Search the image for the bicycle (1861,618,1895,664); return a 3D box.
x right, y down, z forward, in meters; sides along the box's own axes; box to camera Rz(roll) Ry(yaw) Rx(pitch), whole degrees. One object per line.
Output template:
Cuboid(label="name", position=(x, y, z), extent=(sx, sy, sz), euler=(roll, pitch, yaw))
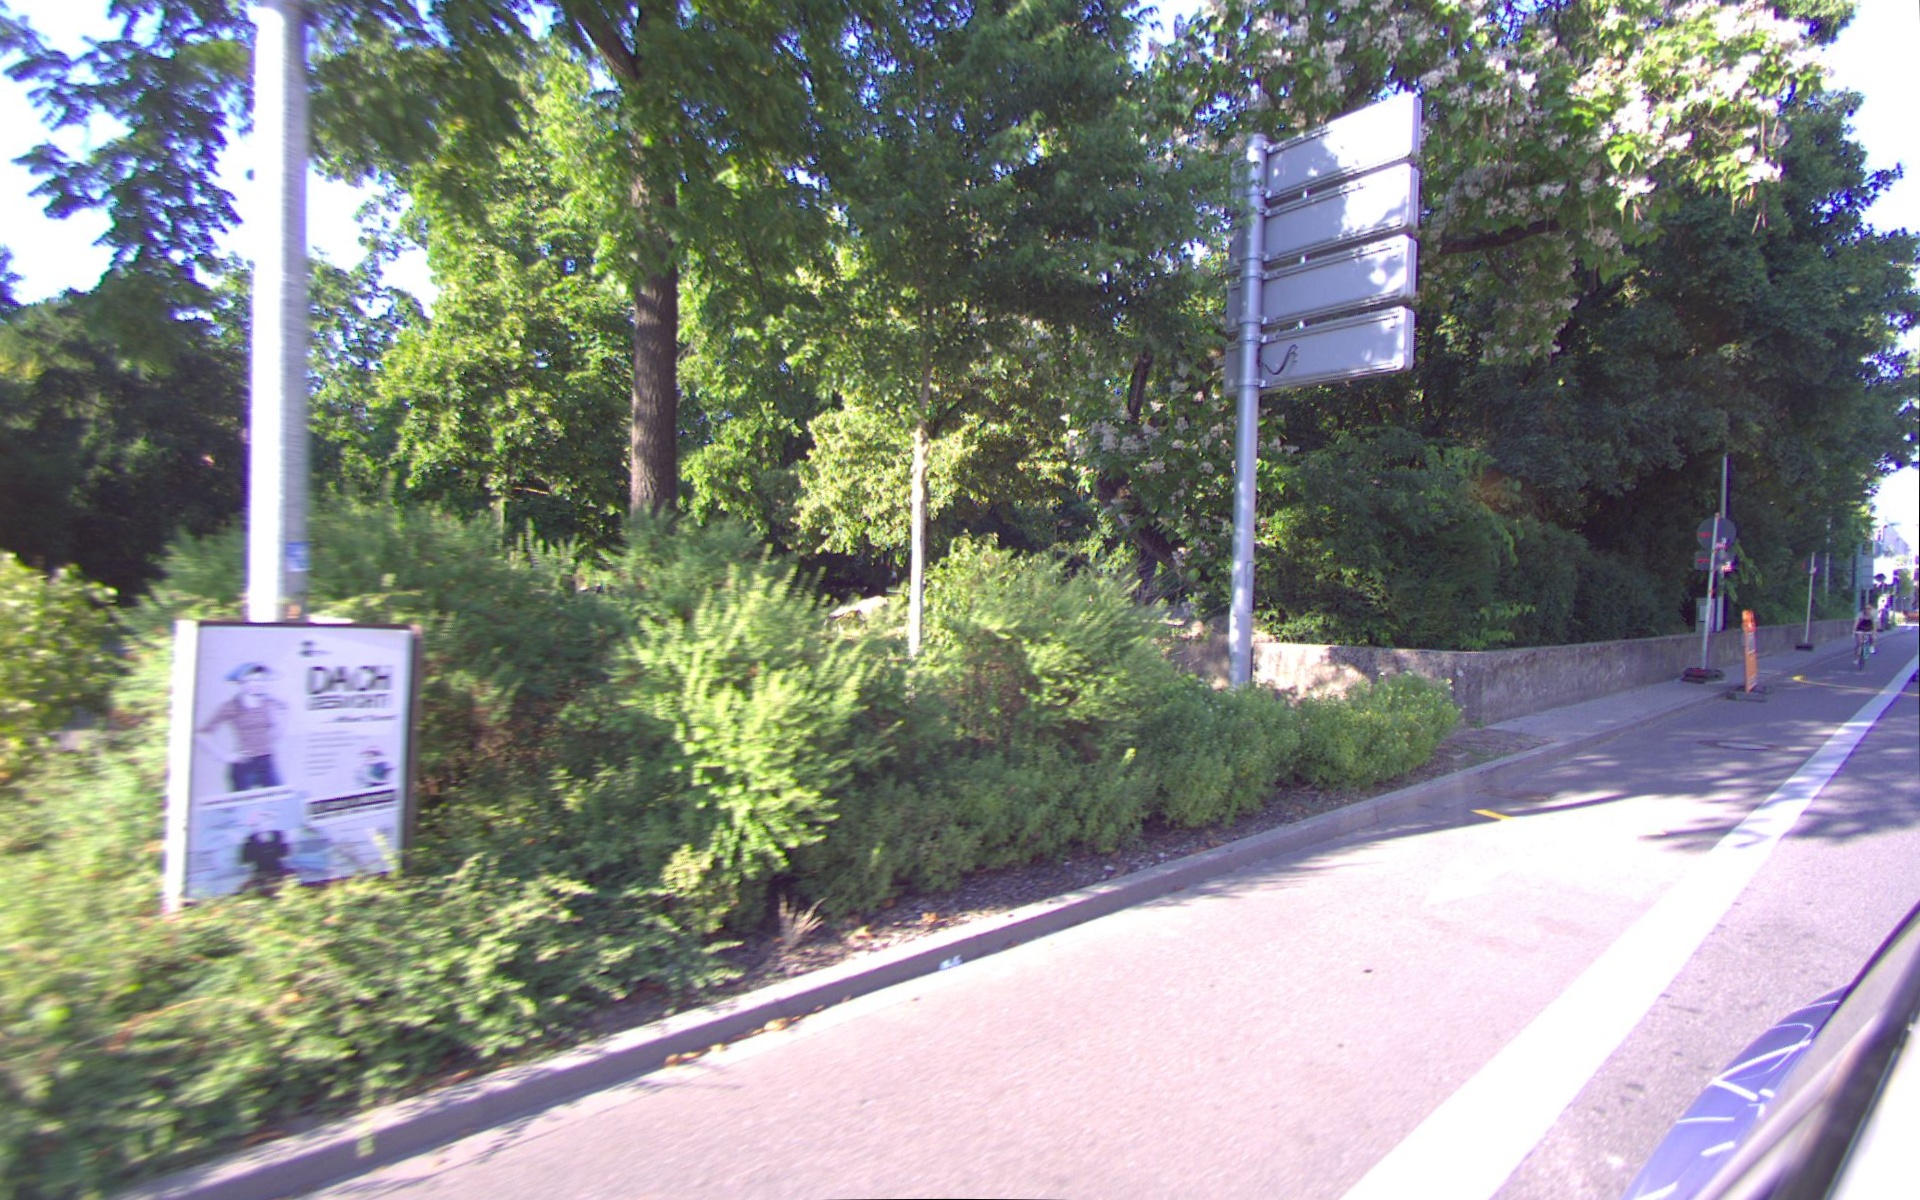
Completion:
Cuboid(label="bicycle", position=(22.006, 0.960, 24.250), extent=(1.480, 1.037, 0.505), euler=(0, 1, -45))

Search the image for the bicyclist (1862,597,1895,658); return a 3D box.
Cuboid(label="bicyclist", position=(21.978, 0.641, 24.207), extent=(0.792, 1.424, 0.515), euler=(1, 1, -45))
